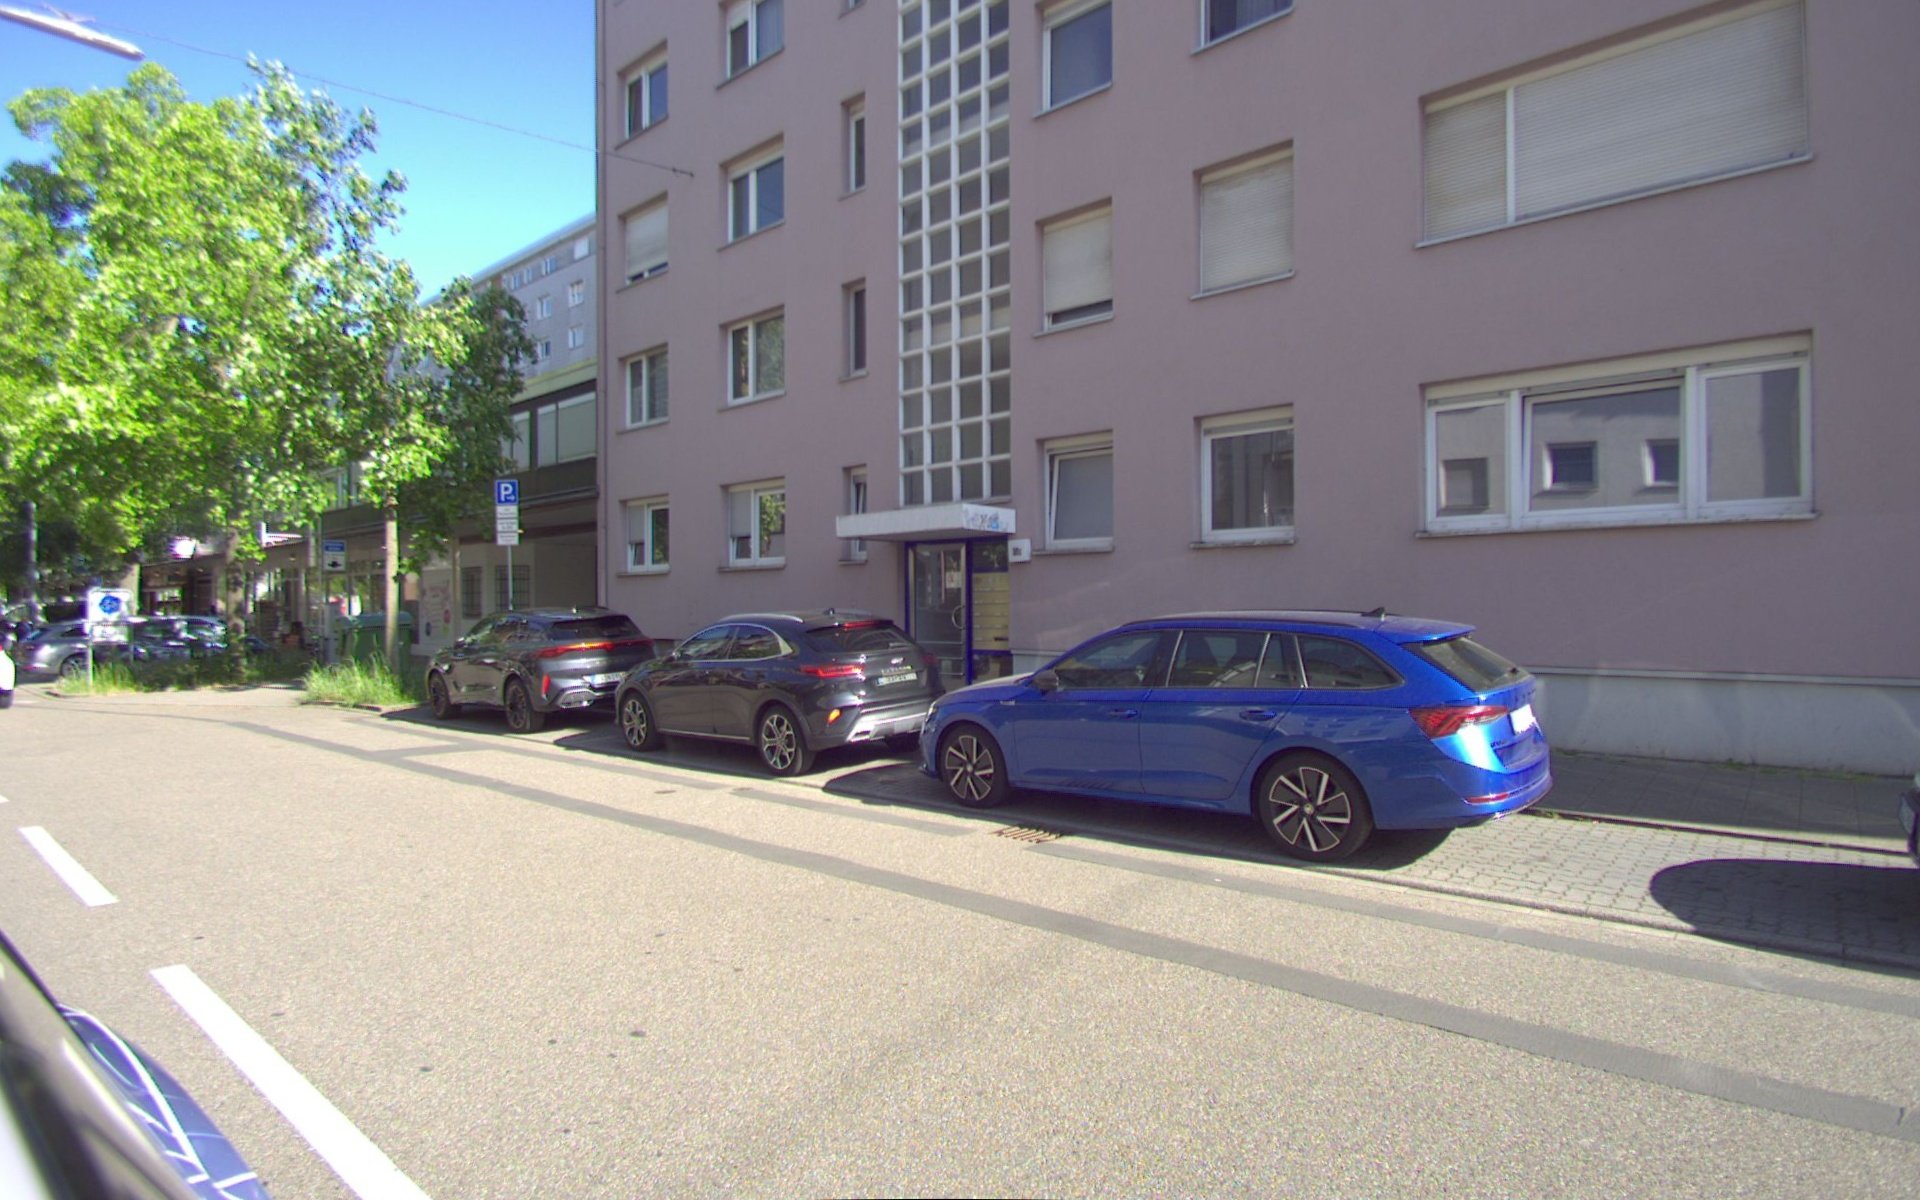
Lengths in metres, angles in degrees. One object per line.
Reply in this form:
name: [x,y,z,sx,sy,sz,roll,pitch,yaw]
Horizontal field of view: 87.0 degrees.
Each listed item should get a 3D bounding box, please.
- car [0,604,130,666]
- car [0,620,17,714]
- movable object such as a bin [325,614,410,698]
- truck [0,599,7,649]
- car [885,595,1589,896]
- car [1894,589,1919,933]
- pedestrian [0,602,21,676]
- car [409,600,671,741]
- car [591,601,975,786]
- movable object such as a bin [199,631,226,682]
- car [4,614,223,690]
car: [-31.279,1.165,34.825,1.999,2.047,3.945,-1,-1,41]
car: [-17.743,1.139,17.158,3.775,1.548,1.751,-1,-1,33]
movable object such as a bin: [-11.570,1.061,19.773,1.230,1.557,1.019,0,-1,-44]
truck: [-52.358,1.241,51.538,1.993,2.615,5.266,-1,-1,31]
car: [1.697,0.775,7.311,4.610,1.476,1.699,-1,1,41]
car: [6.298,0.669,3.203,4.812,1.476,1.700,-1,1,41]
pedestrian: [-26.830,1.086,28.304,0.565,2.029,0.744,-1,-1,35]
car: [-6.047,0.891,14.331,4.141,1.604,1.798,-1,2,43]
car: [-2.034,0.838,10.792,4.245,1.519,1.798,-1,1,43]
movable object such as a bin: [-18.482,1.379,25.022,0.409,1.234,0.482,-1,-1,41]
car: [-20.966,1.224,25.168,1.999,1.687,3.945,-1,-1,41]
